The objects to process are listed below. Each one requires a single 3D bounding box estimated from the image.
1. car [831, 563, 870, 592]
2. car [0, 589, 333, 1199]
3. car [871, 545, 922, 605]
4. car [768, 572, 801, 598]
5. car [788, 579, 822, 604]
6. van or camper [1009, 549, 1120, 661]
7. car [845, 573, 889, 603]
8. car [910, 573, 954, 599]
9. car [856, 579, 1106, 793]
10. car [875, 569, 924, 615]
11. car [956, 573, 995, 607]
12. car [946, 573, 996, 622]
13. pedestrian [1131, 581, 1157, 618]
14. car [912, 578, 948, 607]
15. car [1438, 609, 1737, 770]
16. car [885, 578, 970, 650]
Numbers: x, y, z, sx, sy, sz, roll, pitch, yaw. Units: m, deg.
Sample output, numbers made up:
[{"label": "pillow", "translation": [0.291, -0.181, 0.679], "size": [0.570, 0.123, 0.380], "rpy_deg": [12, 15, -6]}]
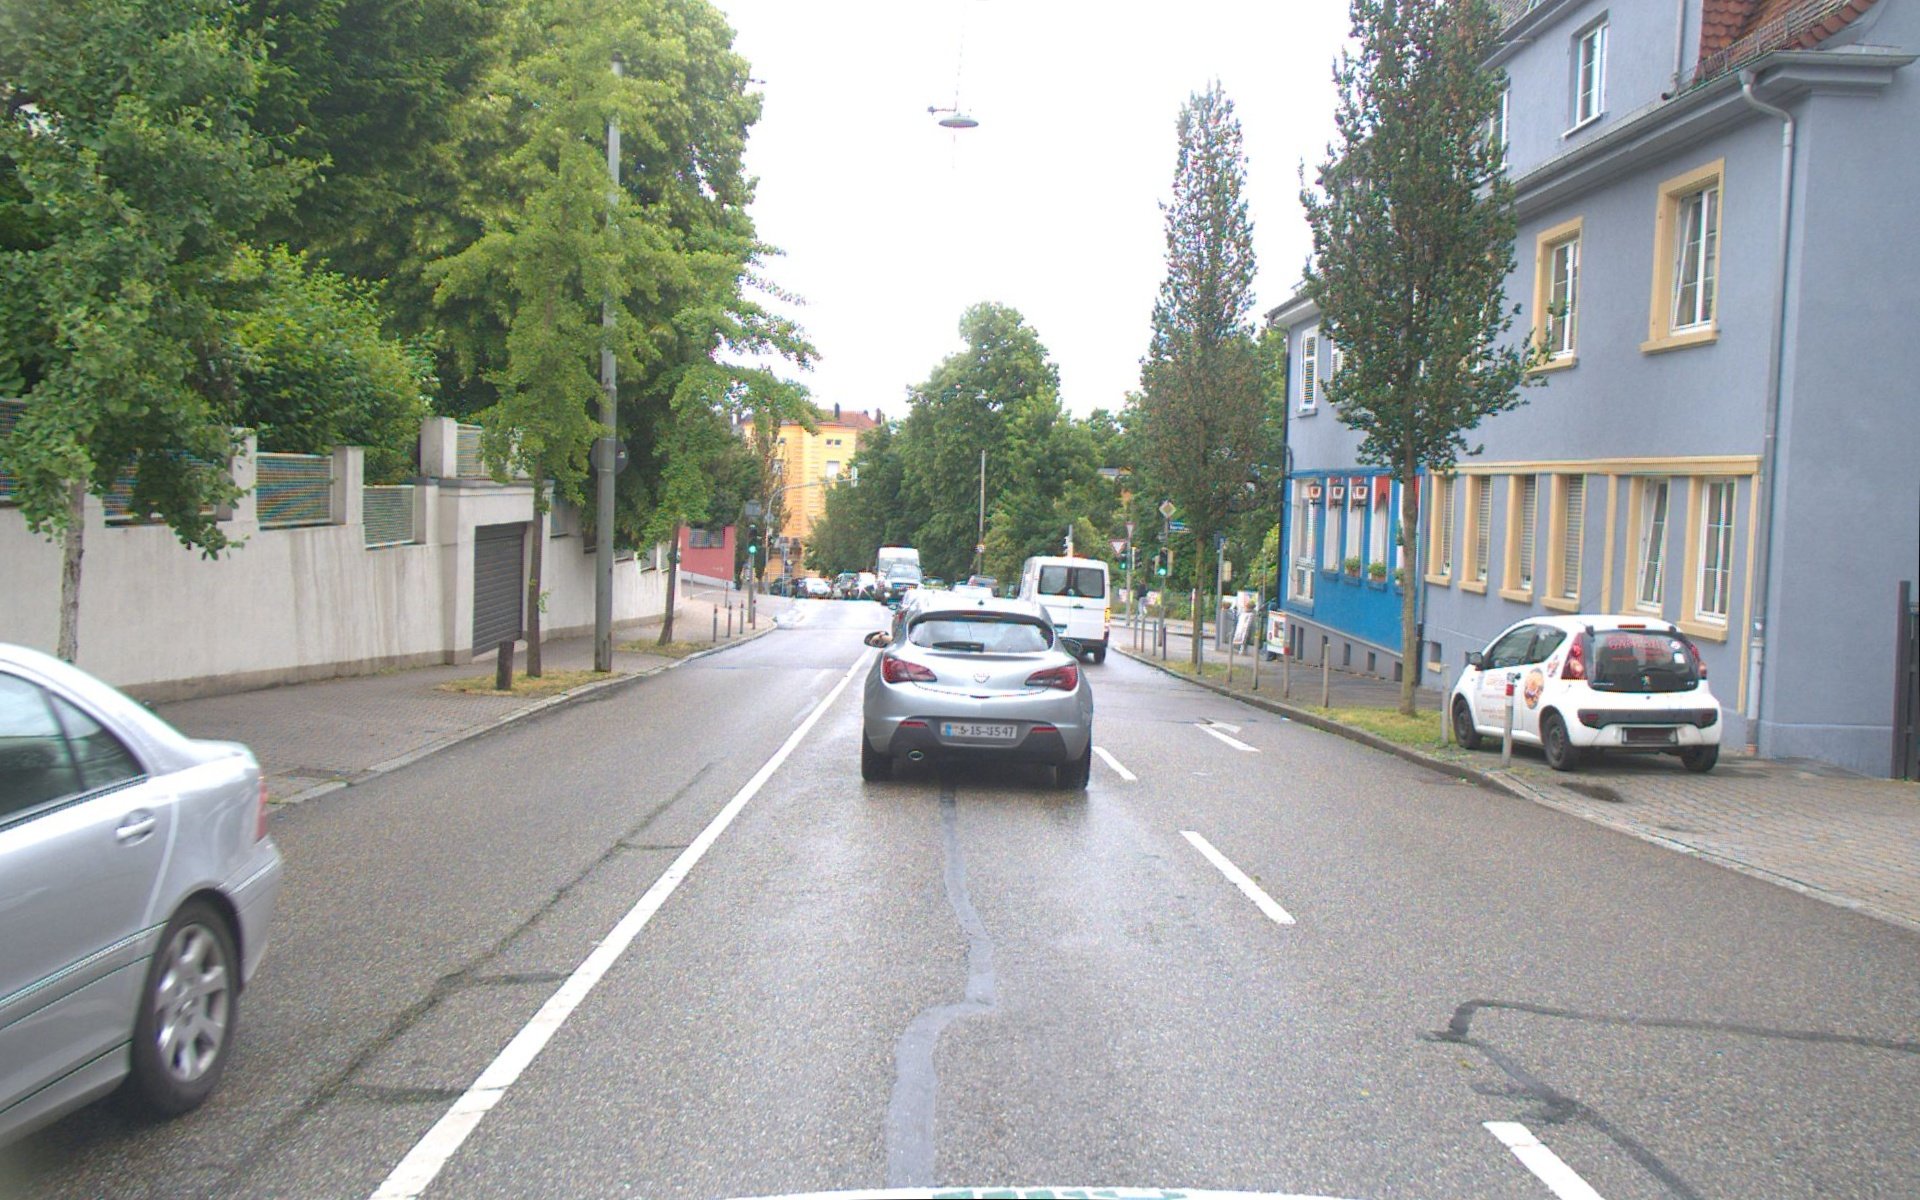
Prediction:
[{"label": "car", "translation": [-7.715, -1.550, 116.162], "size": [1.754, 1.887, 3.981], "rpy_deg": [3, -1, -17]}, {"label": "car", "translation": [-2.988, 0.708, 3.555], "size": [1.684, 1.409, 4.284], "rpy_deg": [-1, 1, -1]}, {"label": "car", "translation": [-3.012, -1.143, 77.307], "size": [2.076, 2.590, 5.535], "rpy_deg": [2, 0, -4]}, {"label": "car", "translation": [-14.613, -1.219, 137.244], "size": [1.962, 2.049, 3.981], "rpy_deg": [2, -1, -17]}, {"label": "car", "translation": [-10.567, -0.574, 112.801], "size": [1.743, 1.523, 4.249], "rpy_deg": [3, 0, -12]}, {"label": "van or camper", "translation": [2.421, 0.094, 39.773], "size": [2.061, 2.366, 5.416], "rpy_deg": [4, 0, -1]}, {"label": "car", "translation": [-5.335, -0.672, 94.202], "size": [1.842, 1.602, 4.573], "rpy_deg": [3, 0, -11]}, {"label": "car", "translation": [-1.843, -0.904, 107.432], "size": [1.786, 1.521, 3.982], "rpy_deg": [-3, 1, -16]}, {"label": "car", "translation": [0.122, 0.614, 14.212], "size": [1.778, 1.454, 4.000], "rpy_deg": [3, 1, -1]}, {"label": "car", "translation": [-2.507, -0.360, 67.884], "size": [1.785, 1.680, 4.343], "rpy_deg": [4, 1, -4]}, {"label": "car", "translation": [0.720, -0.452, 78.309], "size": [1.588, 1.512, 3.433], "rpy_deg": [2, -1, -4]}, {"label": "car", "translation": [0.329, -0.097, 51.250], "size": [1.355, 1.436, 3.455], "rpy_deg": [2, 1, -2]}, {"label": "pedestrian", "translation": [8.093, -0.018, 72.785], "size": [0.756, 1.633, 0.957], "rpy_deg": [0, 0, -27]}, {"label": "car", "translation": [-1.699, -0.402, 92.572], "size": [1.590, 1.512, 3.429], "rpy_deg": [2, -1, -8]}, {"label": "car", "translation": [6.362, 0.848, 17.152], "size": [1.555, 1.436, 3.453], "rpy_deg": [0, 1, -5]}, {"label": "car", "translation": [-0.716, 0.294, 36.225], "size": [1.740, 1.455, 3.784], "rpy_deg": [2, 0, -1]}]
